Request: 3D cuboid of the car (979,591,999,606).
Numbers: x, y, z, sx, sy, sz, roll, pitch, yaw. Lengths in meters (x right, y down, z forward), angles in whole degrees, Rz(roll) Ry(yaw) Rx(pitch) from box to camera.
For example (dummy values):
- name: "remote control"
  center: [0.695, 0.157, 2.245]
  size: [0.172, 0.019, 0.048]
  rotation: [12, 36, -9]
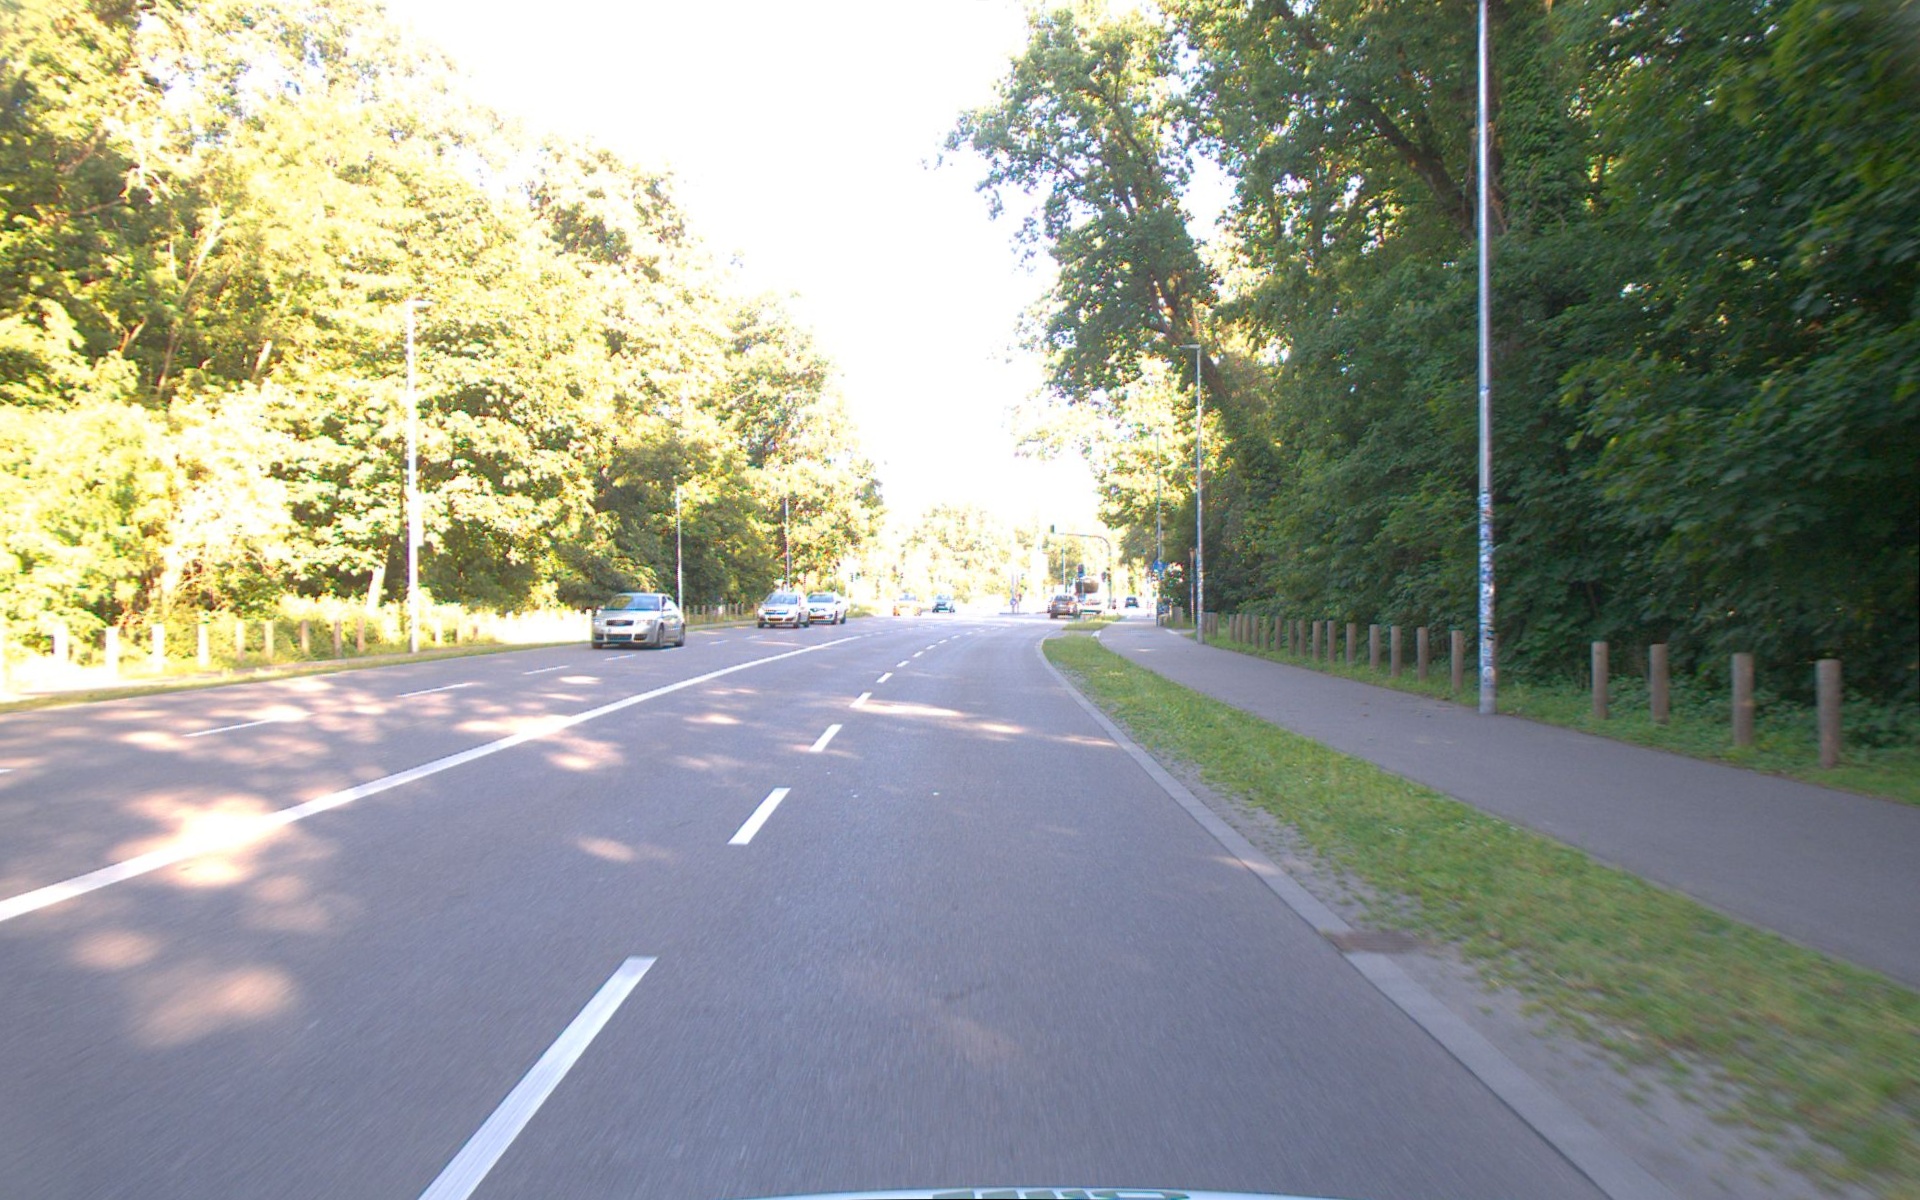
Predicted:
- name: "car"
  center: [3.147, -0.150, 177.396]
  size: [1.674, 1.489, 4.103]
  rotation: [1, 0, 7]

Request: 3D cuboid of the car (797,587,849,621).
- name: "car"
  center: [-6.435, 0.173, 78.097]
  size: [1.745, 1.549, 4.400]
  rotation: [0, 0, 5]

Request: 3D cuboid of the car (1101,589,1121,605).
- name: "car"
  center: [16.782, -0.325, 184.044]
  size: [1.823, 1.713, 3.776]
  rotation: [-1, 0, 11]

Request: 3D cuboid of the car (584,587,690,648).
- name: "car"
  center: [-8.140, 0.414, 42.056]
  size: [1.742, 1.433, 4.167]
  rotation: [0, 1, 2]

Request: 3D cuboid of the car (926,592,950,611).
- name: "car"
  center: [-1.832, 0.112, 137.991]
  size: [1.620, 1.534, 4.002]
  rotation: [0, 0, 5]

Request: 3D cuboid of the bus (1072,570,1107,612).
- name: "bus"
  center: [10.817, -0.753, 137.853]
  size: [2.550, 3.427, 7.981]
  rotation: [0, 0, 7]

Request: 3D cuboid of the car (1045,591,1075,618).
- name: "car"
  center: [6.864, 0.299, 113.326]
  size: [1.840, 1.796, 4.003]
  rotation: [-1, 0, 7]

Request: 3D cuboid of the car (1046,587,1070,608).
- name: "car"
  center: [8.708, -0.228, 146.302]
  size: [1.840, 1.796, 4.003]
  rotation: [-1, 0, 7]

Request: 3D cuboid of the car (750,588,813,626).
- name: "car"
  center: [-7.306, 0.286, 68.135]
  size: [1.742, 1.489, 4.277]
  rotation: [0, 0, 6]

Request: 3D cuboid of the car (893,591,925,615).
- name: "car"
  center: [-3.481, 0.199, 112.920]
  size: [1.627, 1.544, 3.810]
  rotation: [0, 0, 7]
